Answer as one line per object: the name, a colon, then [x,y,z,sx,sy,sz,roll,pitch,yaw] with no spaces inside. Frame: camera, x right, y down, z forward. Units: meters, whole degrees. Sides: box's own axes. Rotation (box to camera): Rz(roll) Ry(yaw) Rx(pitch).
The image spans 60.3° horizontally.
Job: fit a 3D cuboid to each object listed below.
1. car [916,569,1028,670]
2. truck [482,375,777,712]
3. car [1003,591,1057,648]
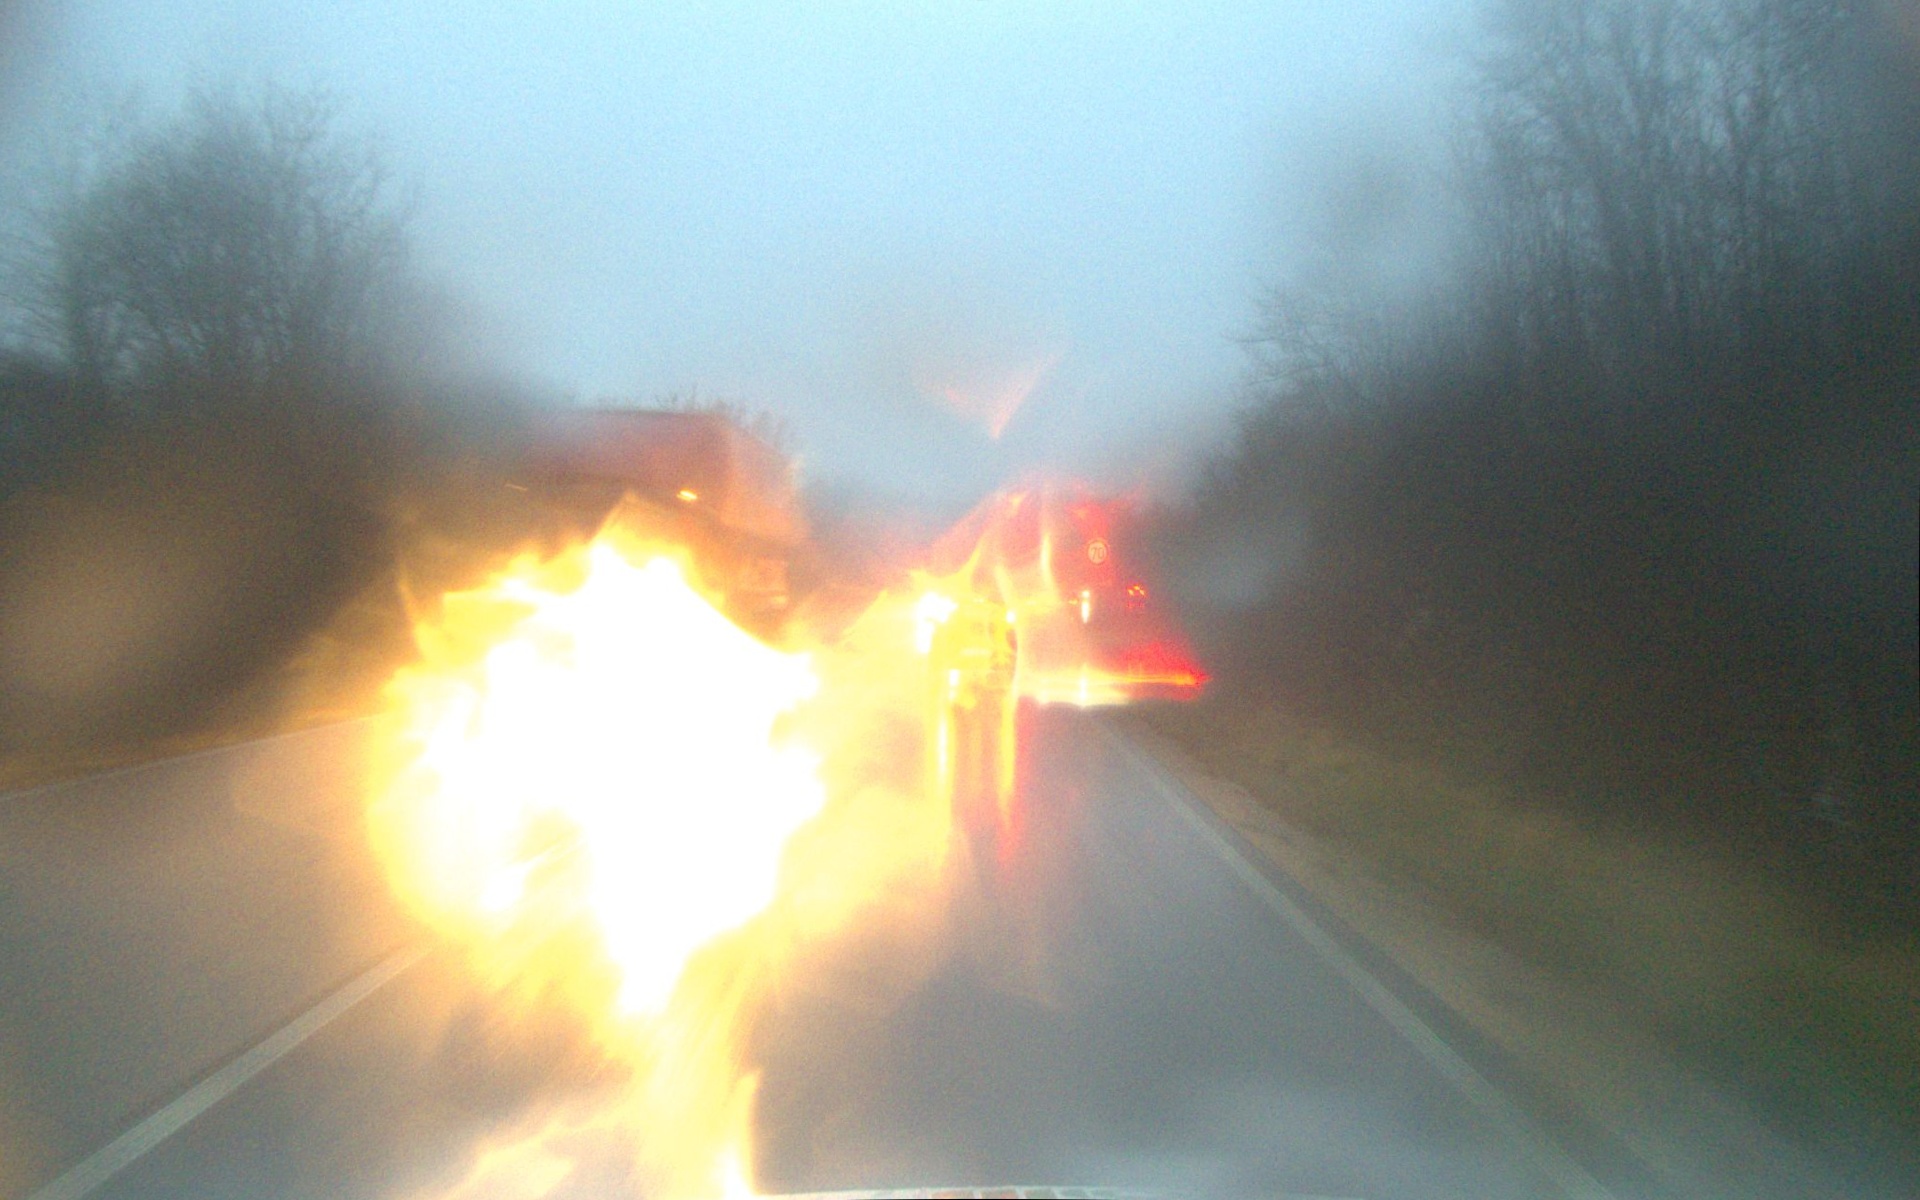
car: [0.153,0.298,29.612,1.694,1.672,3.997,0,1,-4]
truck: [-4.183,-0.689,22.881,2.765,3.781,8.529,0,1,-3]
car: [2.688,0.720,62.758,1.952,2.049,4.002,0,1,3]
